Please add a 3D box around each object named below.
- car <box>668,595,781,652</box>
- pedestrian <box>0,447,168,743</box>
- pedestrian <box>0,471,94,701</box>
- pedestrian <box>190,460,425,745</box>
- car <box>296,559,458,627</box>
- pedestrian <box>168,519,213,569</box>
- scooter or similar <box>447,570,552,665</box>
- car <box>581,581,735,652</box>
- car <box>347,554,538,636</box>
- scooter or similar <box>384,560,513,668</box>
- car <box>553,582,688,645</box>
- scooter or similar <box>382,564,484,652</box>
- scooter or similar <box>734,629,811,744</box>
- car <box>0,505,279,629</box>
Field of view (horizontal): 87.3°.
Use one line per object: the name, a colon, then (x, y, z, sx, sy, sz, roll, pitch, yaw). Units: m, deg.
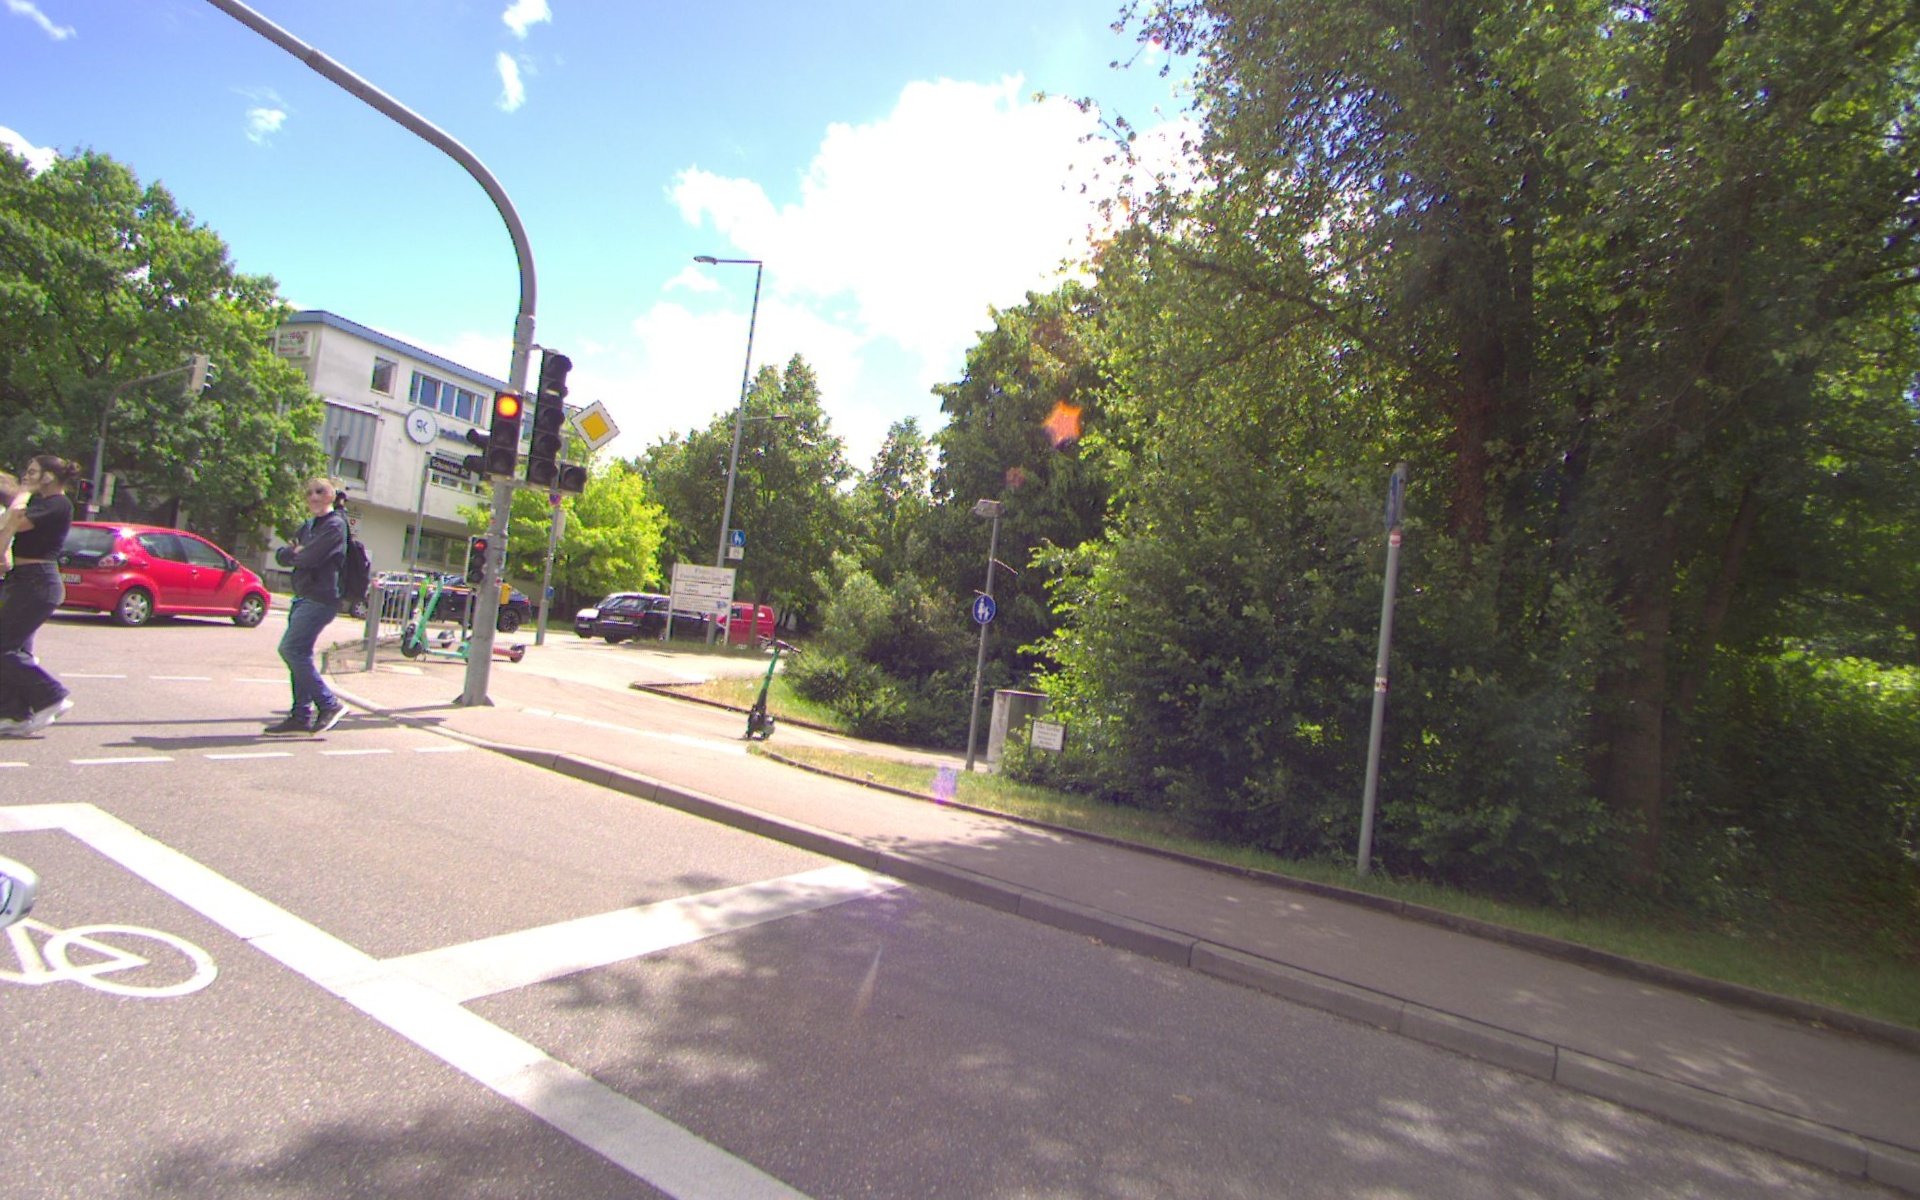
car: (-9.685, 1.021, 41.828, 1.964, 1.885, 4.822, 5, -3, 22)
pedestrian: (-6.023, -0.036, 6.559, 0.758, 1.787, 0.936, 7, 0, 20)
pedestrian: (-7.458, -0.139, 7.808, 0.950, 1.694, 0.860, 7, 0, -43)
pedestrian: (-4.918, 0.035, 7.625, 0.881, 1.964, 0.969, 7, -1, 27)
car: (-18.197, -0.169, 31.622, 1.963, 1.573, 3.923, 7, -2, 21)
pedestrian: (-28.290, -2.060, 36.999, 0.890, 1.662, 0.772, 7, -1, 16)
scooter or similar: (-6.967, 0.283, 15.274, 0.547, 1.254, 1.232, 8, -3, 23)
car: (-8.600, 0.550, 29.129, 1.962, 1.571, 4.526, 7, -2, 17)
car: (-14.959, -0.077, 29.381, 1.964, 1.737, 4.574, 7, -2, 25)
scooter or similar: (-6.910, 0.207, 13.638, 0.455, 1.292, 1.344, 8, -1, 38)
car: (-12.227, 0.557, 36.604, 1.963, 1.737, 4.576, 7, -2, 22)
scooter or similar: (-7.981, 0.149, 15.302, 0.533, 1.168, 1.362, 9, -3, 7)
scooter or similar: (-2.376, 1.123, 12.902, 0.706, 1.287, 1.243, 10, -7, -7)
car: (-12.321, -0.409, 15.356, 1.518, 1.458, 3.198, 8, -2, 0)
